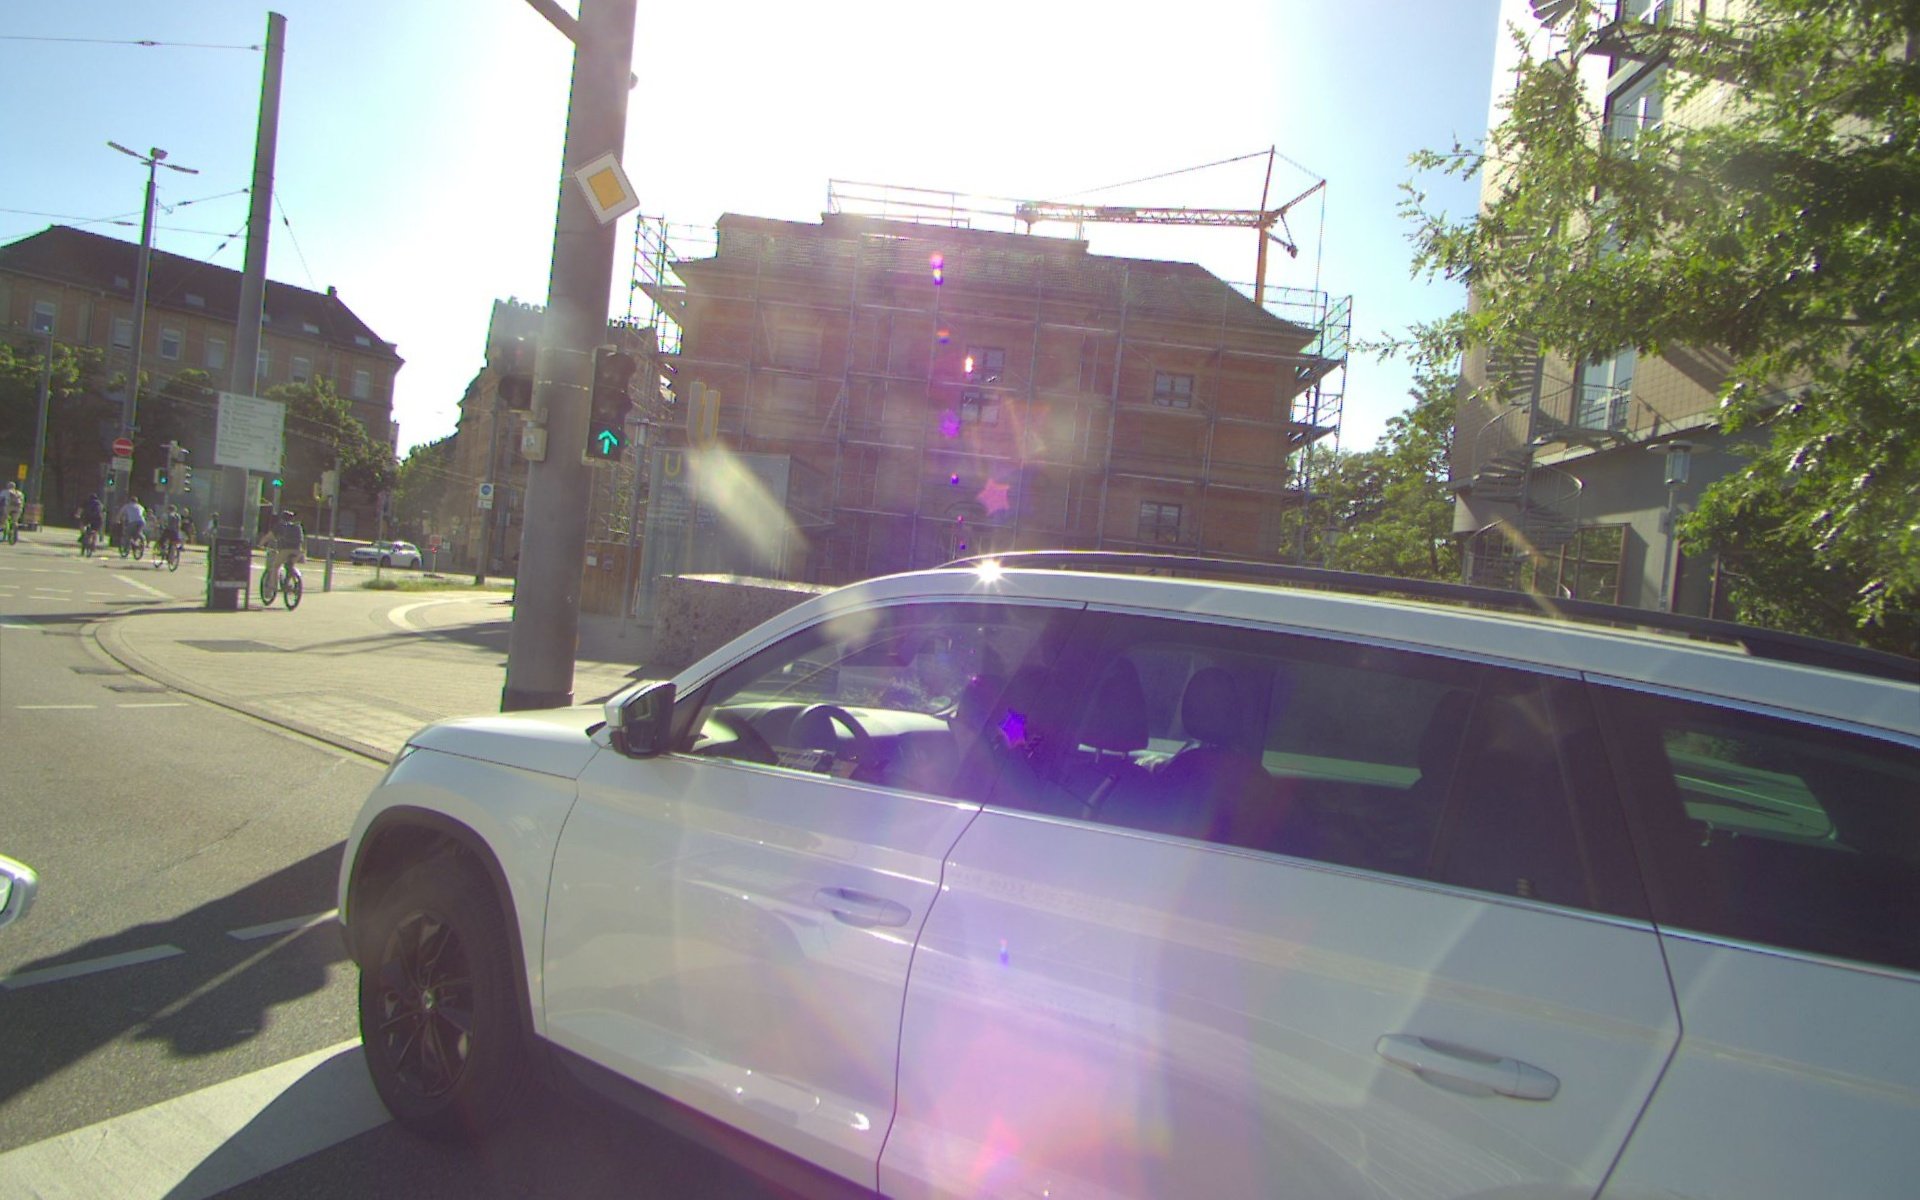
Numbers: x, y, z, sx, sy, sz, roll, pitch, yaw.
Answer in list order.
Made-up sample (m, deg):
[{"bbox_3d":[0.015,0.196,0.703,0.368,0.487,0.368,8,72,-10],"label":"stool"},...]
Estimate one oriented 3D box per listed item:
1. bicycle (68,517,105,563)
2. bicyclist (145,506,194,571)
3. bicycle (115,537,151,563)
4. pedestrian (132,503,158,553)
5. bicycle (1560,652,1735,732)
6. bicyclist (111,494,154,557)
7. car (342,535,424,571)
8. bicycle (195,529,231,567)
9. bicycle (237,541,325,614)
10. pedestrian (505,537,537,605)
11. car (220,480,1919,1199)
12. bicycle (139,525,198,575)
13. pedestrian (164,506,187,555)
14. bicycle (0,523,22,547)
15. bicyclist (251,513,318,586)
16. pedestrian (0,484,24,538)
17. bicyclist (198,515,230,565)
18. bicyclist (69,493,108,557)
[{"bbox_3d":[-24.116,-1.662,27.766,0.624,1.126,1.829,9,-3,-42],"label":"bicycle"},{"bbox_3d":[-21.135,-1.642,26.905,0.962,1.618,0.685,6,1,36],"label":"bicyclist"},{"bbox_3d":[-24.996,-1.521,30.406,1.446,0.664,0.536,6,1,39],"label":"bicycle"},{"bbox_3d":[-34.756,-3.074,42.890,0.443,2.039,0.574,6,1,14],"label":"pedestrian"},{"bbox_3d":[15.322,2.032,22.484,3.079,1.394,0.798,6,0,8],"label":"bicycle"},{"bbox_3d":[-25.043,-2.249,30.456,0.910,1.802,0.746,7,2,39],"label":"bicyclist"},{"bbox_3d":[-33.577,-2.704,58.681,1.766,1.582,4.327,6,0,7],"label":"car"},{"bbox_3d":[-25.175,-1.759,33.901,1.716,1.139,0.570,6,1,41],"label":"bicycle"},{"bbox_3d":[-13.083,-0.434,19.375,1.804,1.234,0.690,6,3,32],"label":"bicycle"},{"bbox_3d":[-12.936,-0.840,29.620,0.692,1.904,0.716,6,1,-25],"label":"pedestrian"},{"bbox_3d":[0.147,0.722,2.601,4.225,1.662,1.697,6,0,30],"label":"car"},{"bbox_3d":[-21.173,-1.346,26.891,1.854,1.178,0.685,6,0,36],"label":"bicycle"},{"bbox_3d":[-33.491,-2.963,42.970,0.443,2.039,0.462,6,1,14],"label":"pedestrian"},{"bbox_3d":[-29.180,-1.991,30.781,0.534,0.664,1.707,6,0,-38],"label":"bicycle"},{"bbox_3d":[-13.043,-0.968,19.428,0.892,1.296,0.720,6,3,31],"label":"bicyclist"},{"bbox_3d":[-29.026,-2.715,30.670,0.545,1.582,0.849,6,1,-38],"label":"pedestrian"},{"bbox_3d":[-25.109,-2.032,33.859,0.933,1.588,0.570,7,1,41],"label":"bicyclist"},{"bbox_3d":[-24.040,-2.060,27.747,0.624,1.656,0.983,9,-2,-42],"label":"bicyclist"}]
